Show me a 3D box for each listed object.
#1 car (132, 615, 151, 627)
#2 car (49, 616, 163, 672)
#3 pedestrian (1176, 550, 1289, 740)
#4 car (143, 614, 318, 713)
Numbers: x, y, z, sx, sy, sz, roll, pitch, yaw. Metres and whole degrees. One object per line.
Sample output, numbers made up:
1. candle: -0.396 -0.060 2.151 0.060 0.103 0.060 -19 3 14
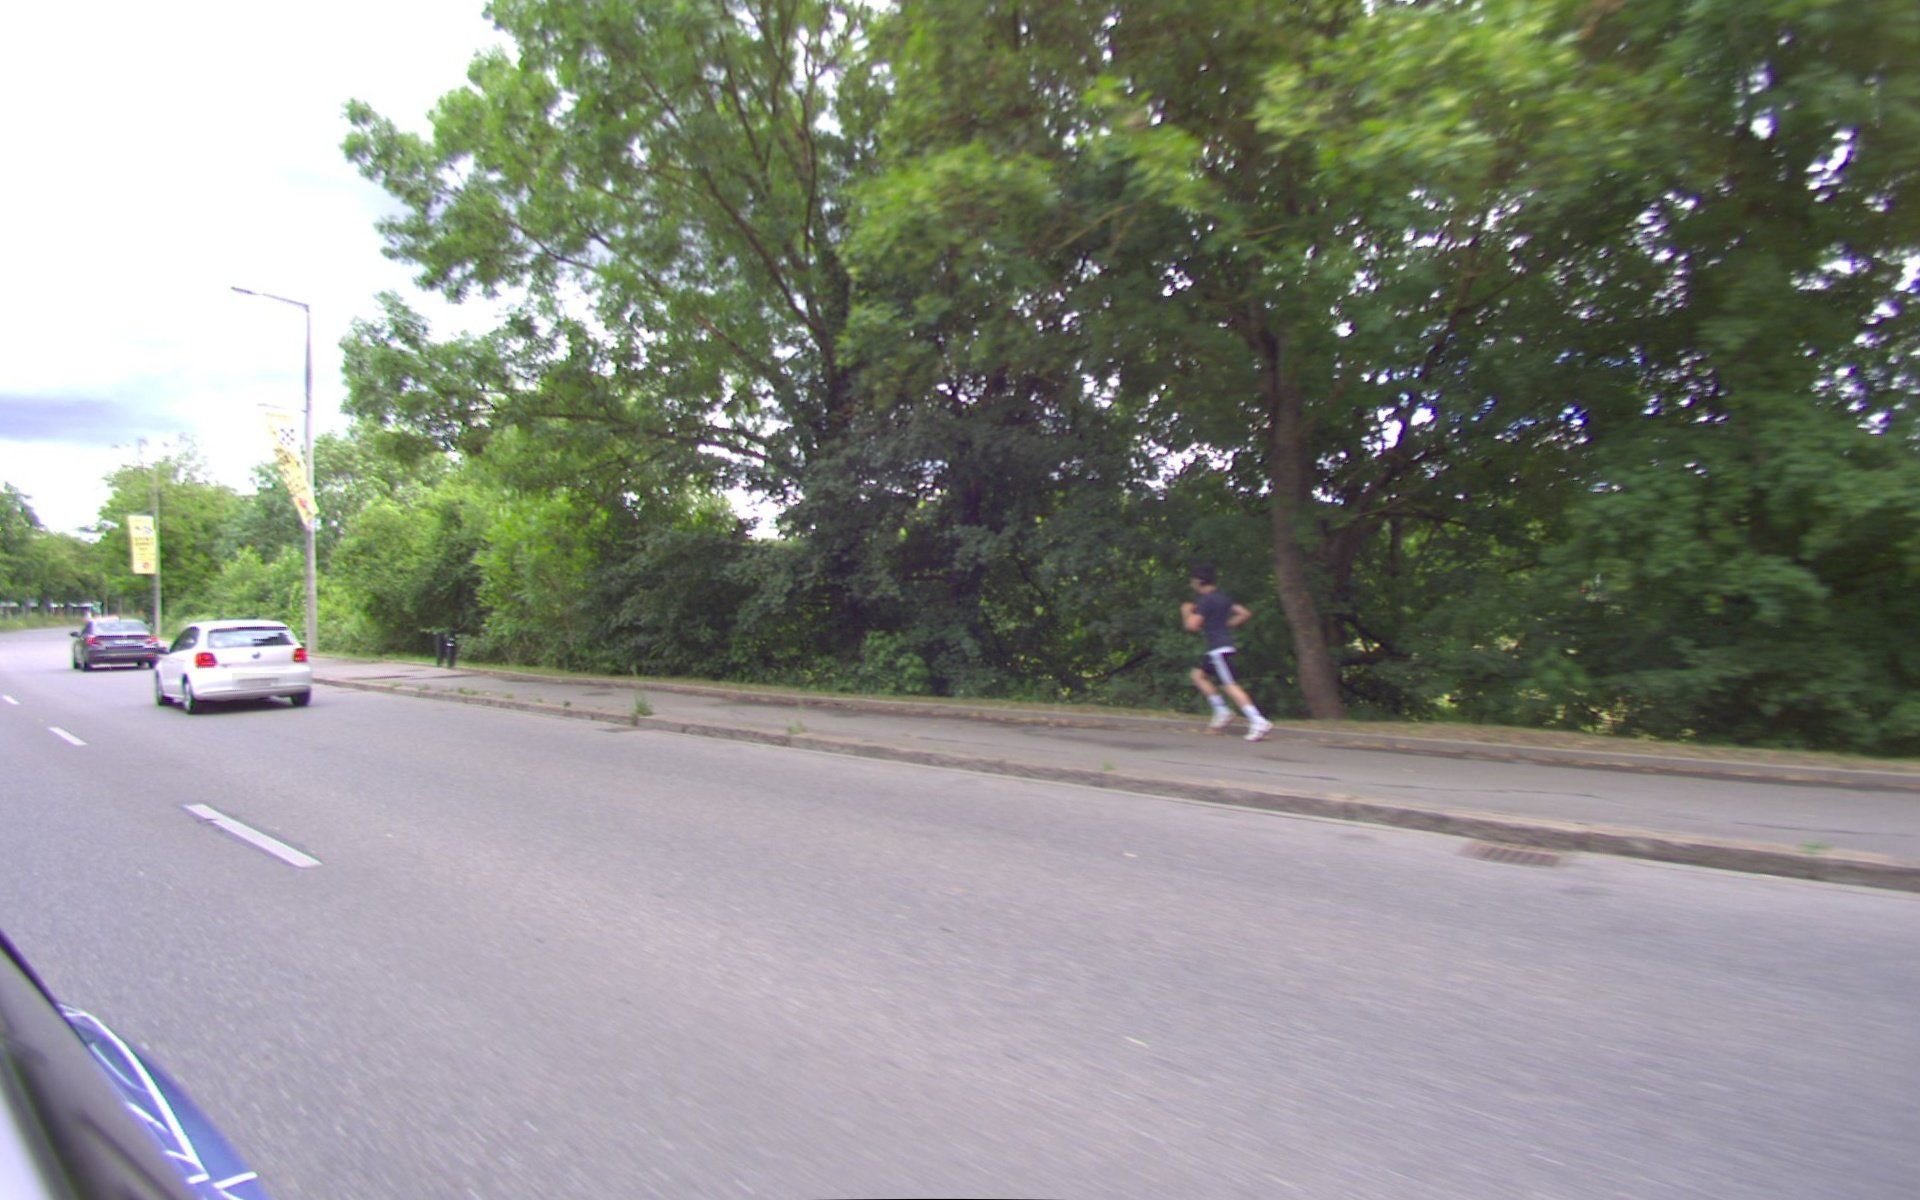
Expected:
1. car: -110.882 2.813 137.124 1.770 1.420 4.010 -3 1 -35
2. car: -25.445 1.247 30.121 4.277 1.516 1.973 -1 0 41
3. pedestrian: 2.607 0.404 9.676 0.814 1.727 0.593 -1 1 41
4. car: -12.358 0.973 17.053 4.001 1.439 1.705 -1 0 44
